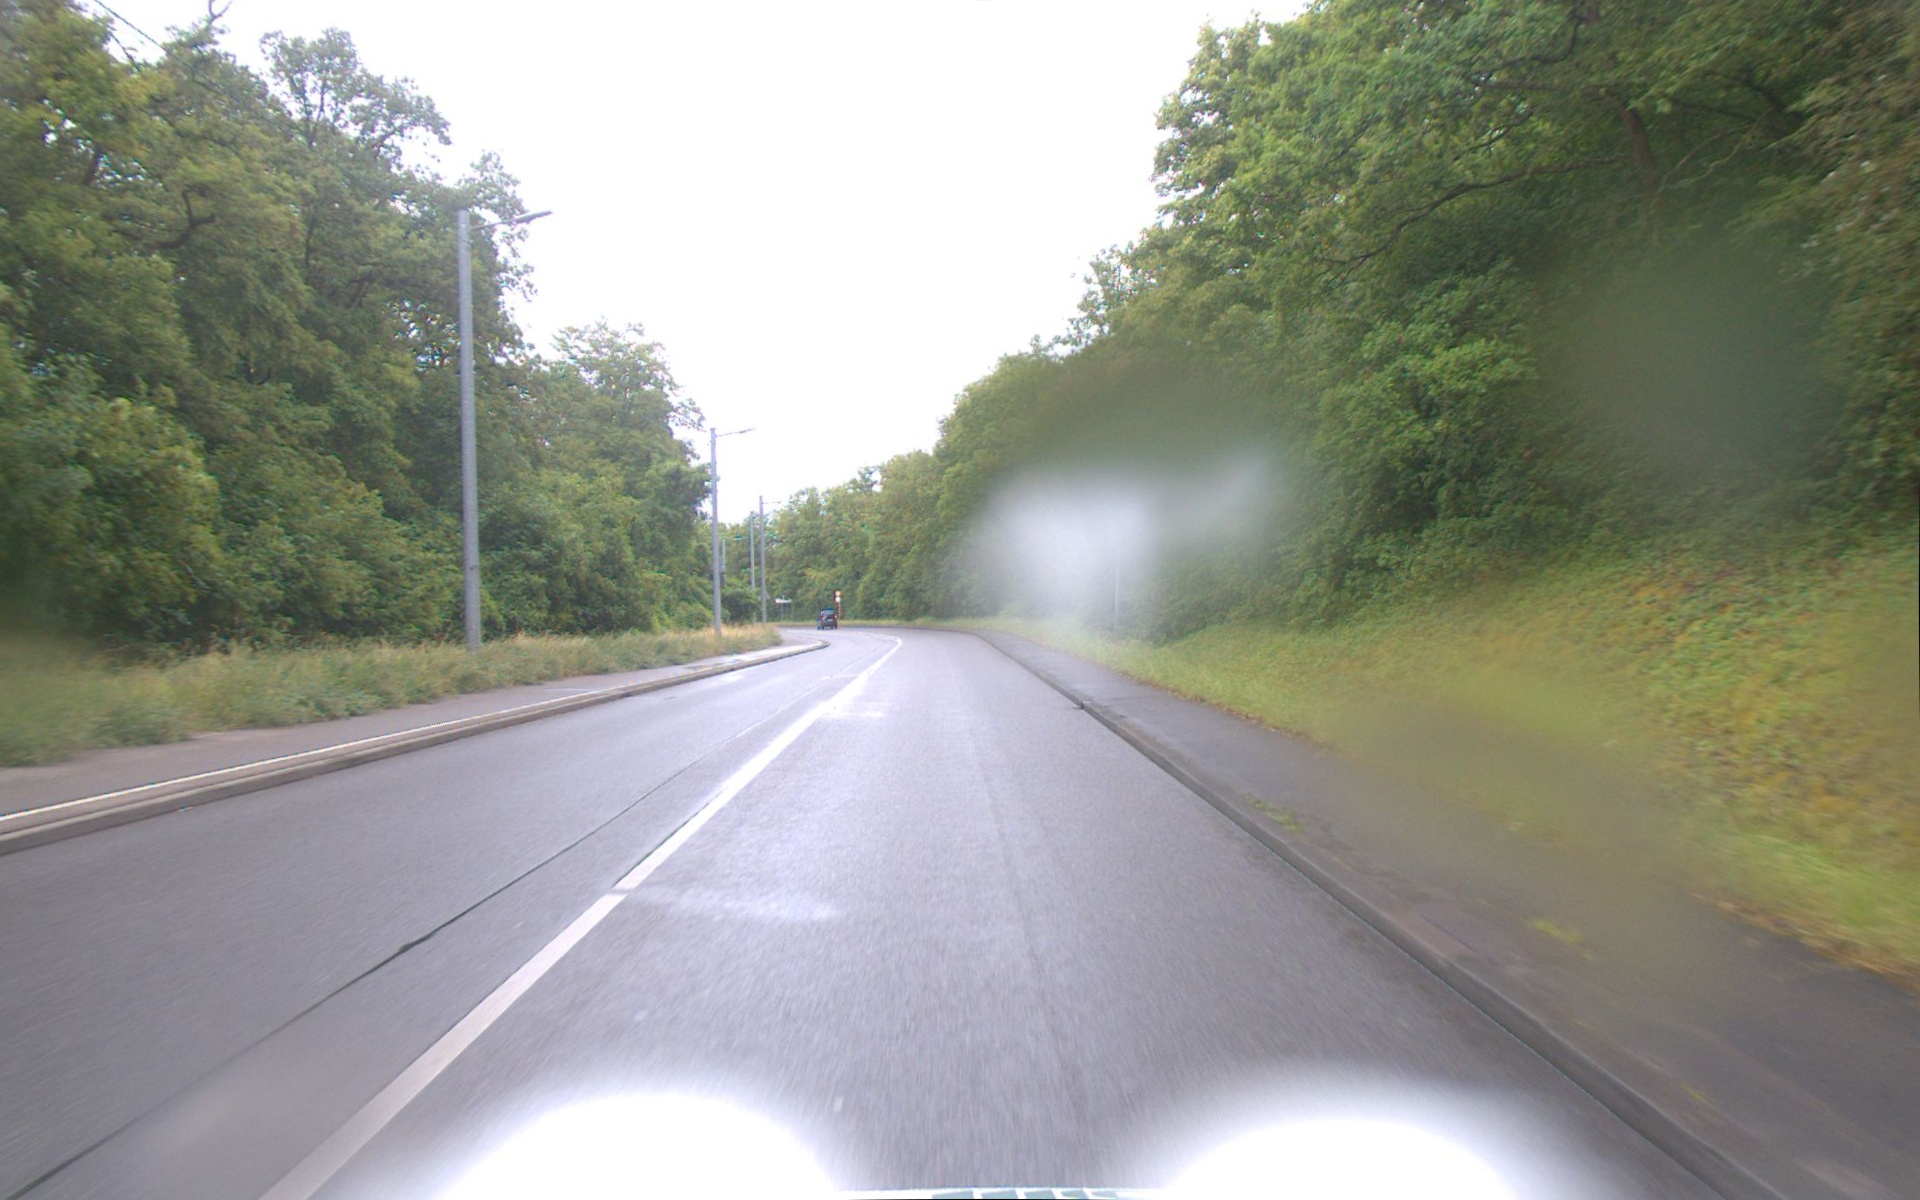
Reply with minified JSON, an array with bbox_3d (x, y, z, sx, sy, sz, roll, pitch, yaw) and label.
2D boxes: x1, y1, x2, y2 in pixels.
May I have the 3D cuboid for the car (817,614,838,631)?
[{"bbox_3d":[-13.391,2.271,166.830,1.833,1.624,3.992,2,-1,-8],"label":"car"}]
